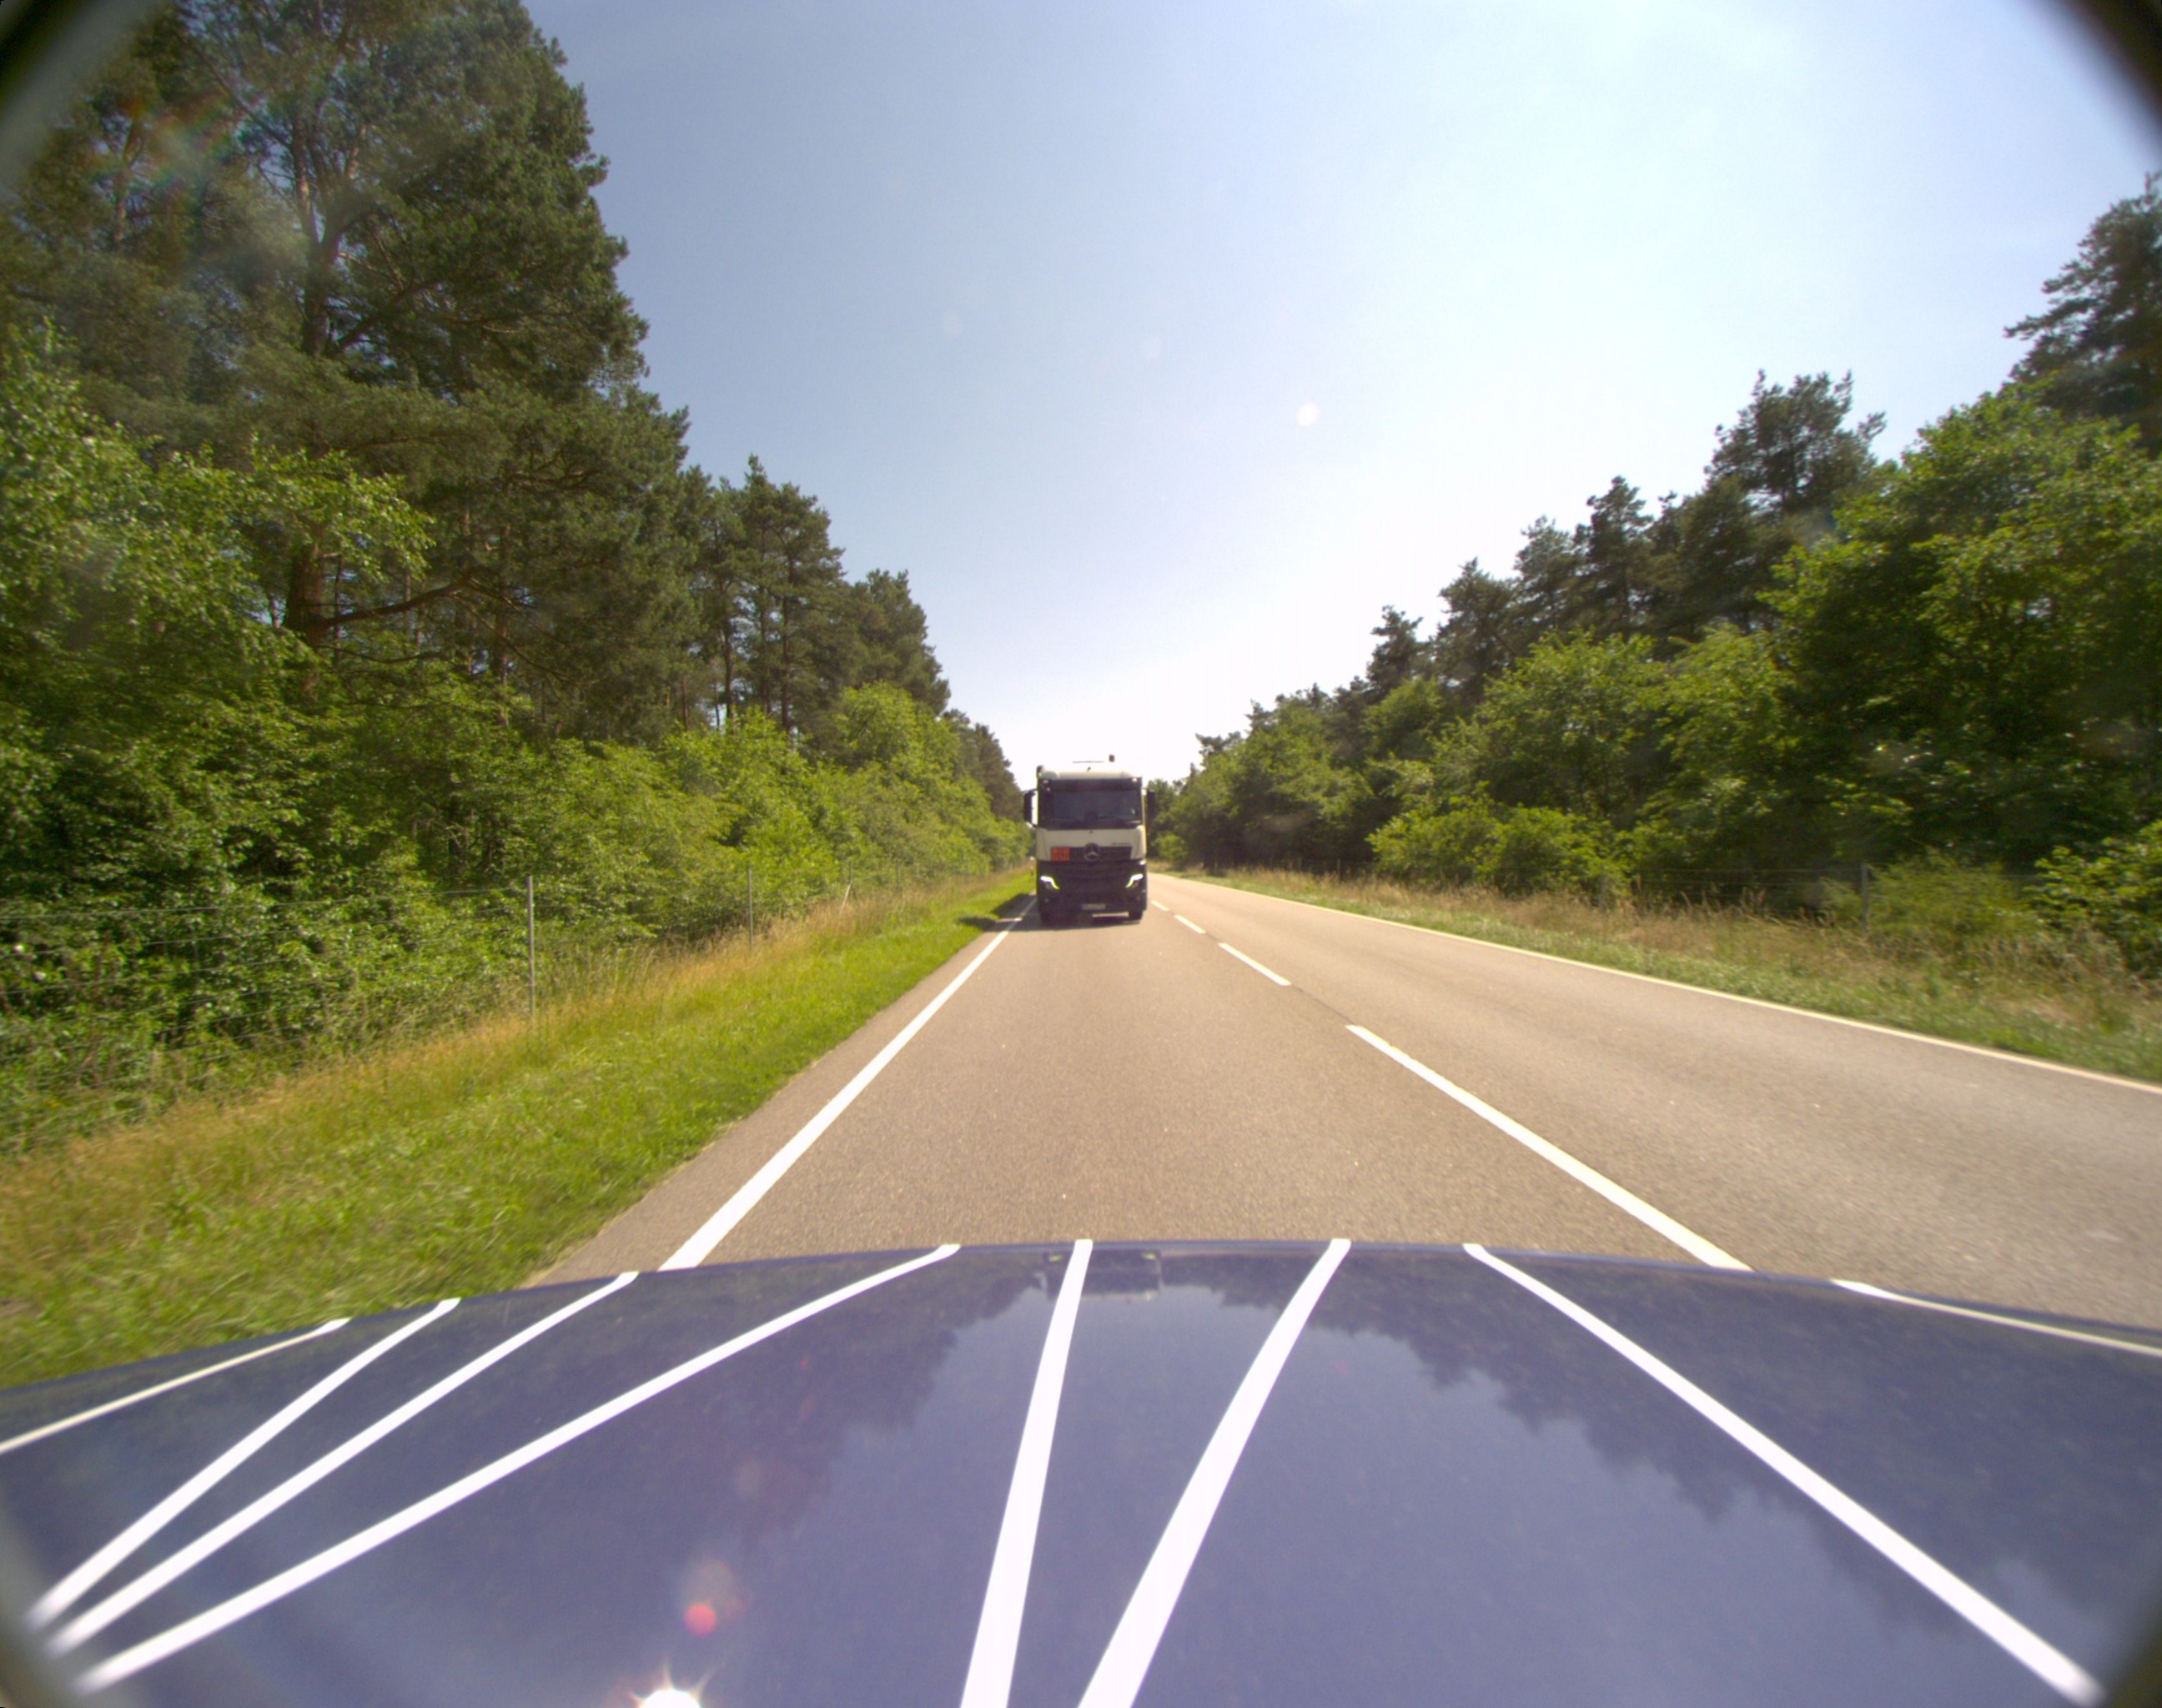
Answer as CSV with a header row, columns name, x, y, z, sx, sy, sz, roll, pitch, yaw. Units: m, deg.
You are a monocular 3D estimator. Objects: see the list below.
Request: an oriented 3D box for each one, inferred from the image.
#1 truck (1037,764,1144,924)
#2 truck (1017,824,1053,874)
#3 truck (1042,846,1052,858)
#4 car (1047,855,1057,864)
name,x,y,z,sx,sy,sz,roll,pitch,yaw
truck,0.202,-0.217,20.816,2.435,3.672,6.456,-1,0,0
truck,-3.483,-0.348,58.915,2.494,3.619,6.102,-2,0,-2
truck,-10.624,-0.494,235.369,2.495,3.619,6.099,-2,0,-8
car,-5.393,1.012,141.602,1.885,1.462,3.999,0,0,-3
